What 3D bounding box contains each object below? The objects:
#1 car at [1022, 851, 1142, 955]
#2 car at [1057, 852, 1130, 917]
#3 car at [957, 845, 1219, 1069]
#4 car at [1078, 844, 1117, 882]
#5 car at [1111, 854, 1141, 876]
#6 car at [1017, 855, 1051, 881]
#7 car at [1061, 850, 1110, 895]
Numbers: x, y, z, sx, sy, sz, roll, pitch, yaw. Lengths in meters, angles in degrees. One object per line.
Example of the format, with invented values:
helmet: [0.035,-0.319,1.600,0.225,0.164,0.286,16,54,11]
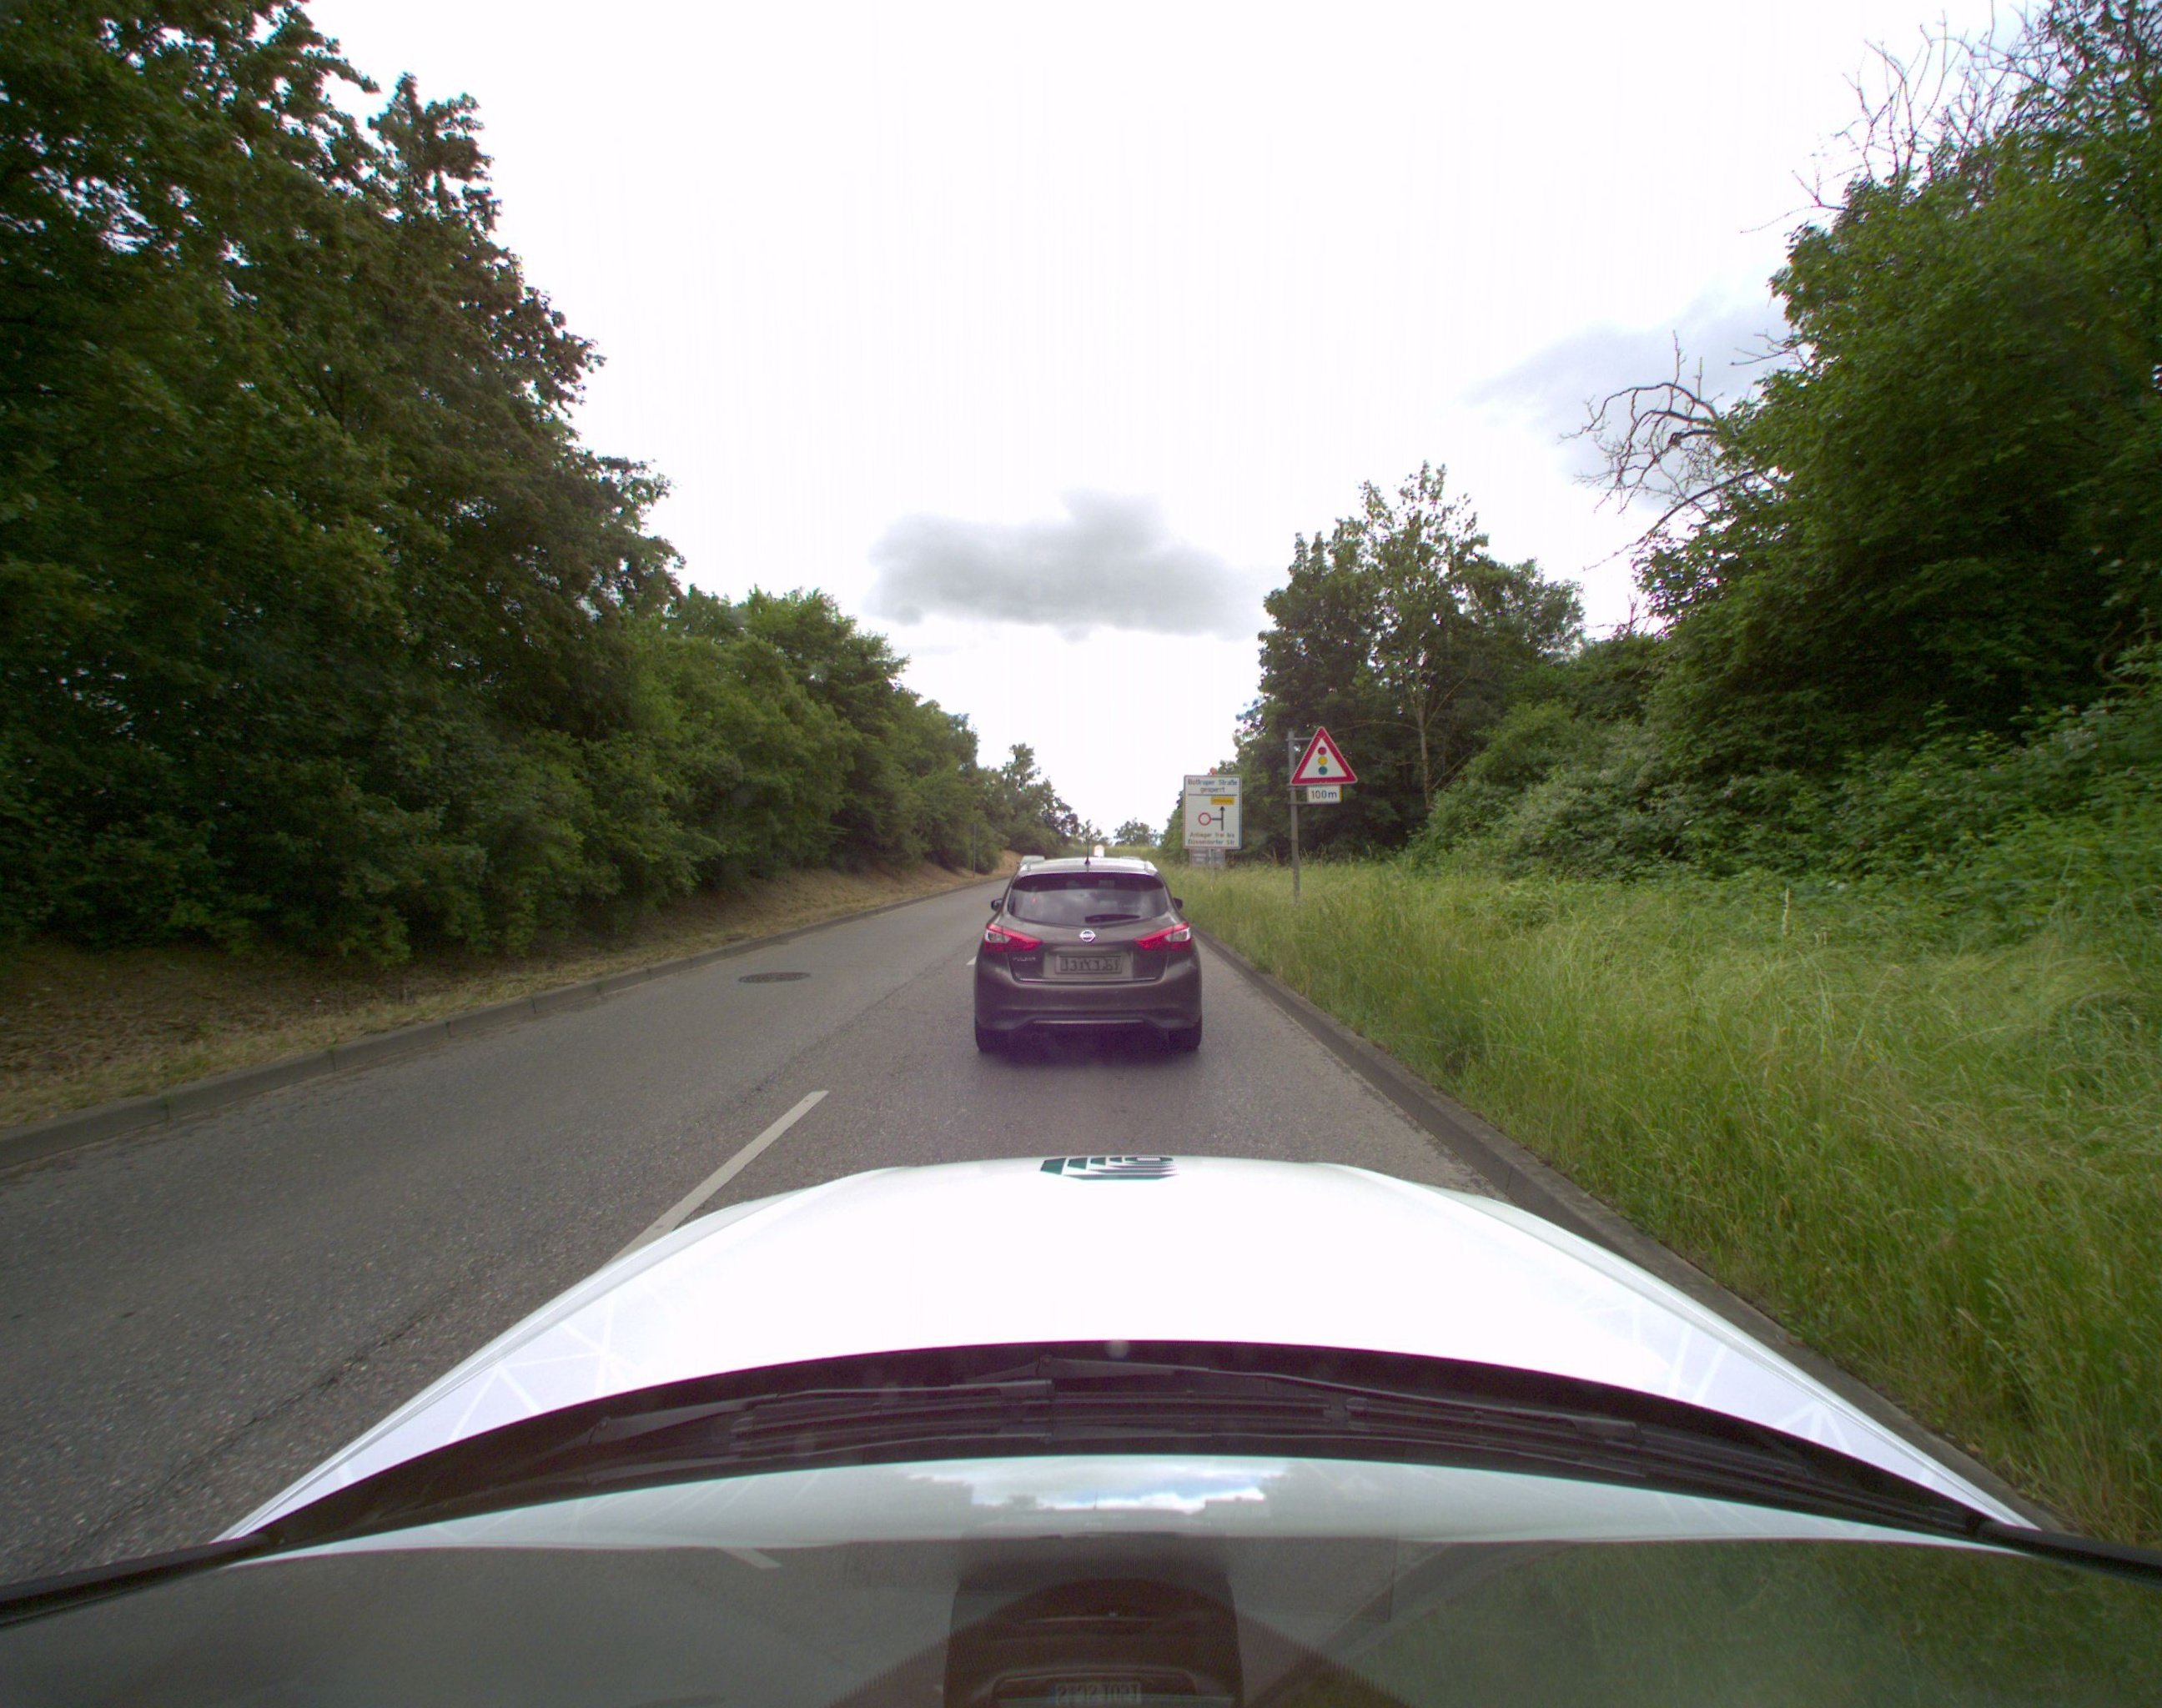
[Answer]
car: [0.083,0.755,14.406,1.823,1.556,3.626,-1,0,2]
car: [0.376,0.739,21.520,1.729,1.556,3.545,-1,0,2]
car: [0.062,0.726,7.502,1.824,1.556,3.499,-1,0,0]
car: [0.936,0.468,44.485,1.727,1.935,3.550,-2,0,7]
car: [3.420,0.794,60.930,1.725,1.526,3.554,-2,0,11]
car: [-2.689,0.779,47.376,1.636,1.400,3.822,-1,0,1]
car: [0.217,0.672,31.276,1.729,1.556,3.545,-1,0,2]
